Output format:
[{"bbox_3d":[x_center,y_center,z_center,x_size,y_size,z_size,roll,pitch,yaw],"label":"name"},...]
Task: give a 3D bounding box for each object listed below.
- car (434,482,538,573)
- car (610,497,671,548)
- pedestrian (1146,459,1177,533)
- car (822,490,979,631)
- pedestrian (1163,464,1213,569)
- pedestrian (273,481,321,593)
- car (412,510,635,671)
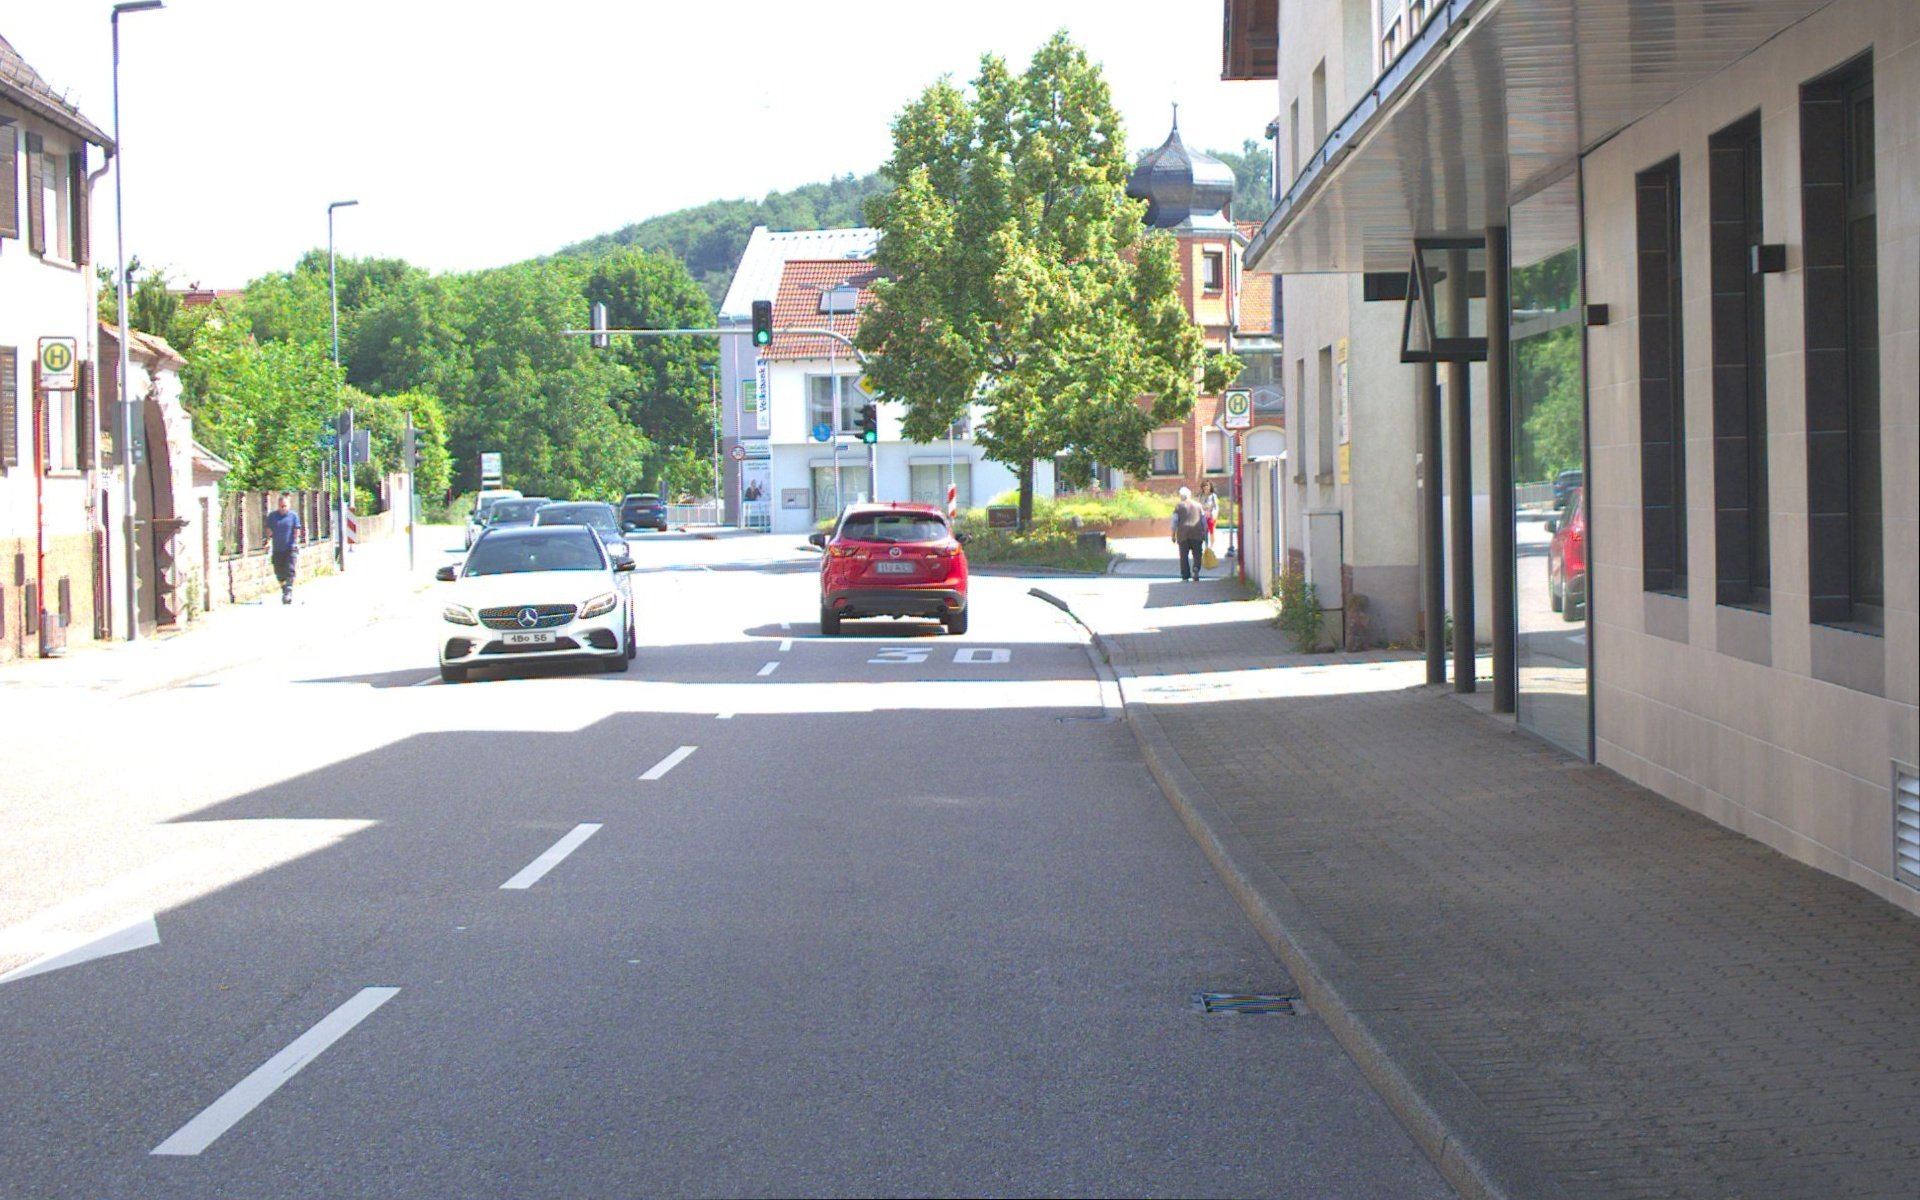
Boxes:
[{"bbox_3d":[-10.209,-1.533,74.278,1.774,1.778,3.839,-2,-1,-2],"label":"car"},{"bbox_3d":[-12.426,-2.983,133.770,1.932,1.788,3.956,-2,-1,0],"label":"car"},{"bbox_3d":[5.220,-2.692,89.090,0.642,1.872,0.652,-2,-1,-6],"label":"pedestrian"},{"bbox_3d":[-0.714,-0.539,44.316,1.859,1.709,4.422,-1,1,1],"label":"car"},{"bbox_3d":[3.789,-1.383,57.175,0.642,1.701,0.700,-2,-1,-6],"label":"pedestrian"},{"bbox_3d":[-11.064,-1.046,57.410,0.665,1.818,0.799,-2,-1,-6],"label":"pedestrian"},{"bbox_3d":[-4.366,-0.132,35.065,1.987,1.439,5.102,-2,1,-5],"label":"car"}]
